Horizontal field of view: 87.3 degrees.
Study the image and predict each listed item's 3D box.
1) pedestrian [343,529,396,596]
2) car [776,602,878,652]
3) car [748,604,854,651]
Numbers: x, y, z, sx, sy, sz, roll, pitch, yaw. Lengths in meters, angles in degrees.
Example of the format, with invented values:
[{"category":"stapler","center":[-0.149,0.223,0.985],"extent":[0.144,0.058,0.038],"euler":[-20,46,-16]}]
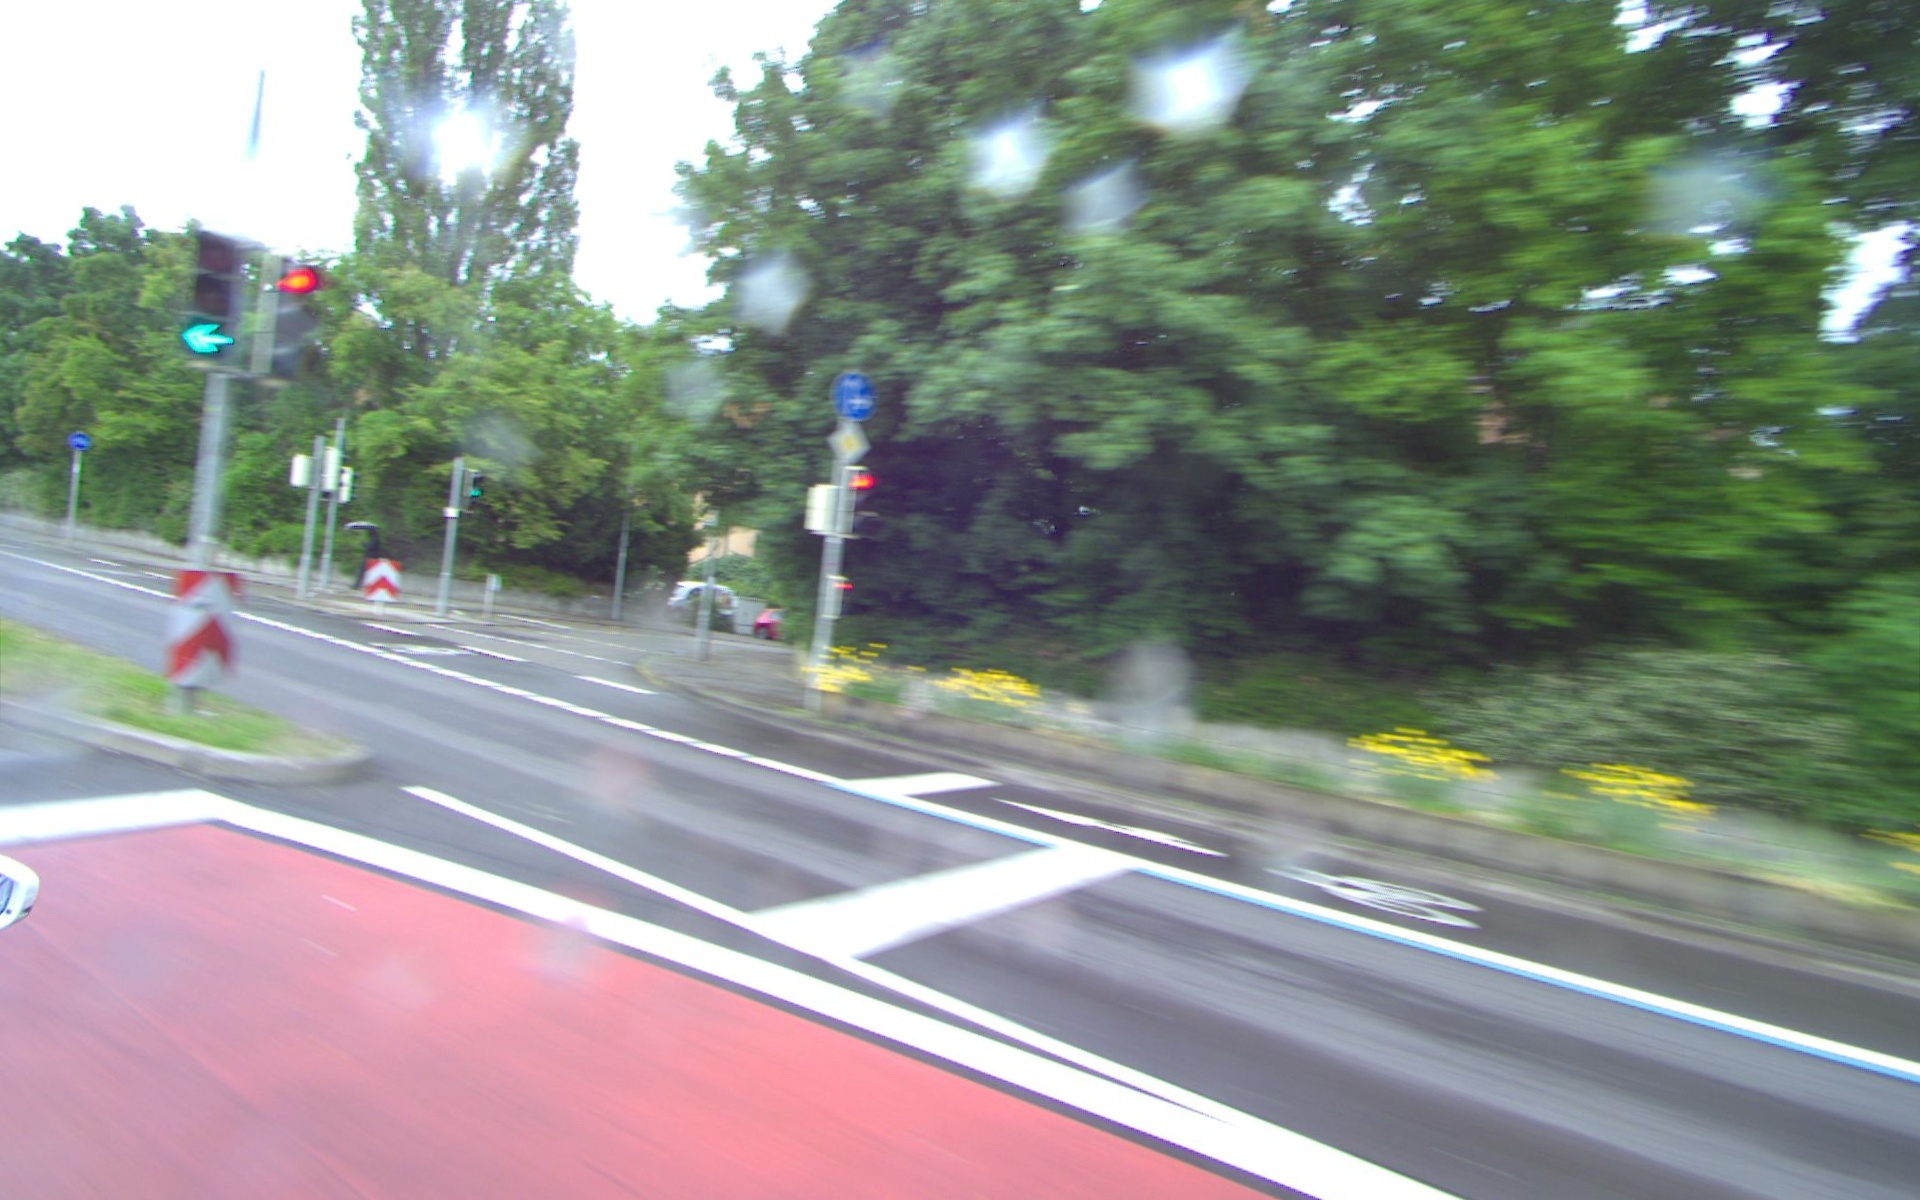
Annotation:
[{"category":"pedestrian","center":[-15.499,-0.987,26.409],"extent":[0.672,1.625,0.809],"euler":[5,-2,32]},{"category":"car","center":[-5.696,1.155,43.165],"extent":[3.929,1.567,1.677],"euler":[7,0,26]},{"category":"car","center":[-6.532,1.132,41.360],"extent":[3.929,1.370,1.677],"euler":[7,-1,26]}]
